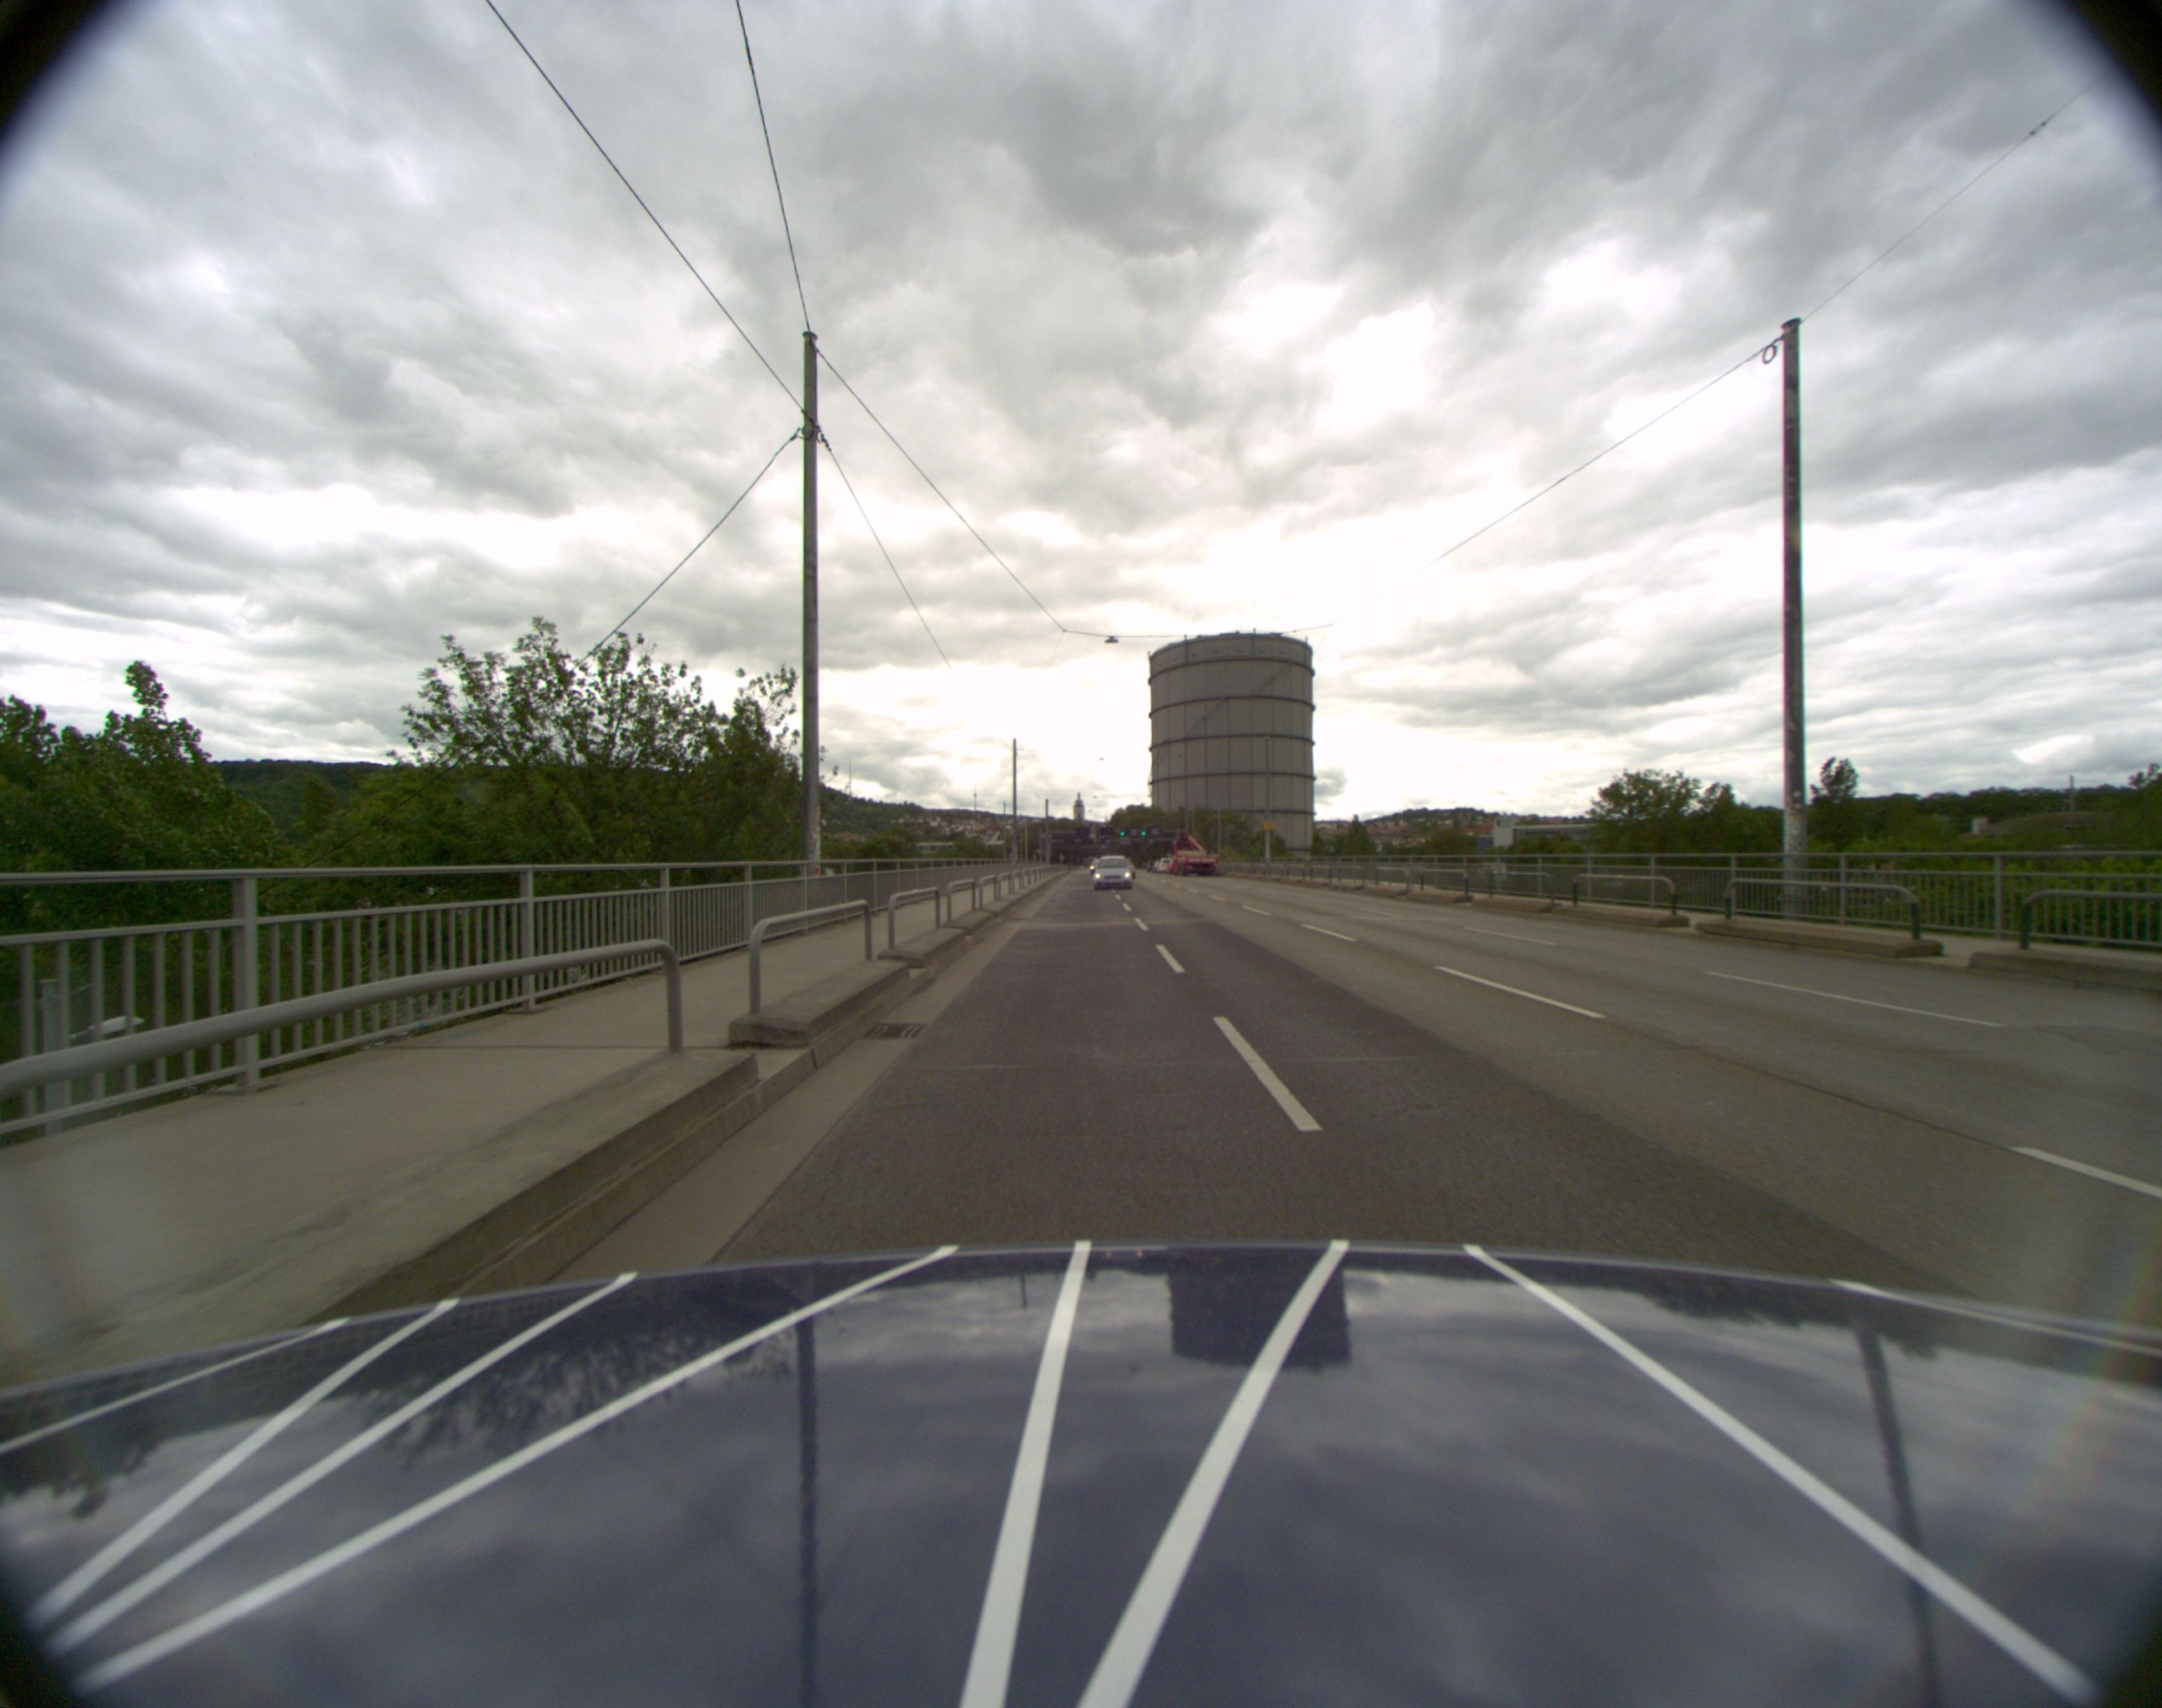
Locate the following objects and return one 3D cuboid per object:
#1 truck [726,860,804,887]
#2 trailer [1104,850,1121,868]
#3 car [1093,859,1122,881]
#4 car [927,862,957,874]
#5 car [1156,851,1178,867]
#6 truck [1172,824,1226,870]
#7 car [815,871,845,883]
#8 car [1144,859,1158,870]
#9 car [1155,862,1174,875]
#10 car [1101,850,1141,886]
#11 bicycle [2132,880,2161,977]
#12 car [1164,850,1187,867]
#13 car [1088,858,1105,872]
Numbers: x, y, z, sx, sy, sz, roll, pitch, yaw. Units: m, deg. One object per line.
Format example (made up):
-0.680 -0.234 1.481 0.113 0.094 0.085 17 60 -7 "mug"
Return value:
-48.577 2.966 116.923 10.423 3.856 3.226 -2 0 -3 "truck"
8.056 1.387 194.849 3.669 4.295 13.783 2 -1 0 "trailer"
1.834 1.090 53.363 1.747 1.454 3.955 0 -1 -2 "car"
-21.942 2.260 120.337 4.339 1.610 2.000 -3 1 0 "car"
9.549 0.575 84.570 1.884 1.750 4.803 0 -1 0 "car"
9.808 -0.474 64.240 3.013 3.544 9.983 0 -1 0 "truck"
-38.532 3.536 116.676 4.045 1.531 1.695 -3 0 -1 "car"
9.719 1.480 105.238 1.839 1.495 3.872 0 -1 4 "car"
10.040 1.759 91.833 1.840 1.495 4.517 0 -1 0 "car"
1.874 0.668 36.849 1.747 1.594 3.683 -2 -1 1 "car"
12.555 0.813 7.267 0.921 1.045 2.797 -1 0 -13 "bicycle"
9.458 0.450 76.450 1.884 1.593 4.016 0 -1 0 "car"
1.674 1.137 79.893 1.696 1.411 4.469 -1 -1 1 "car"
